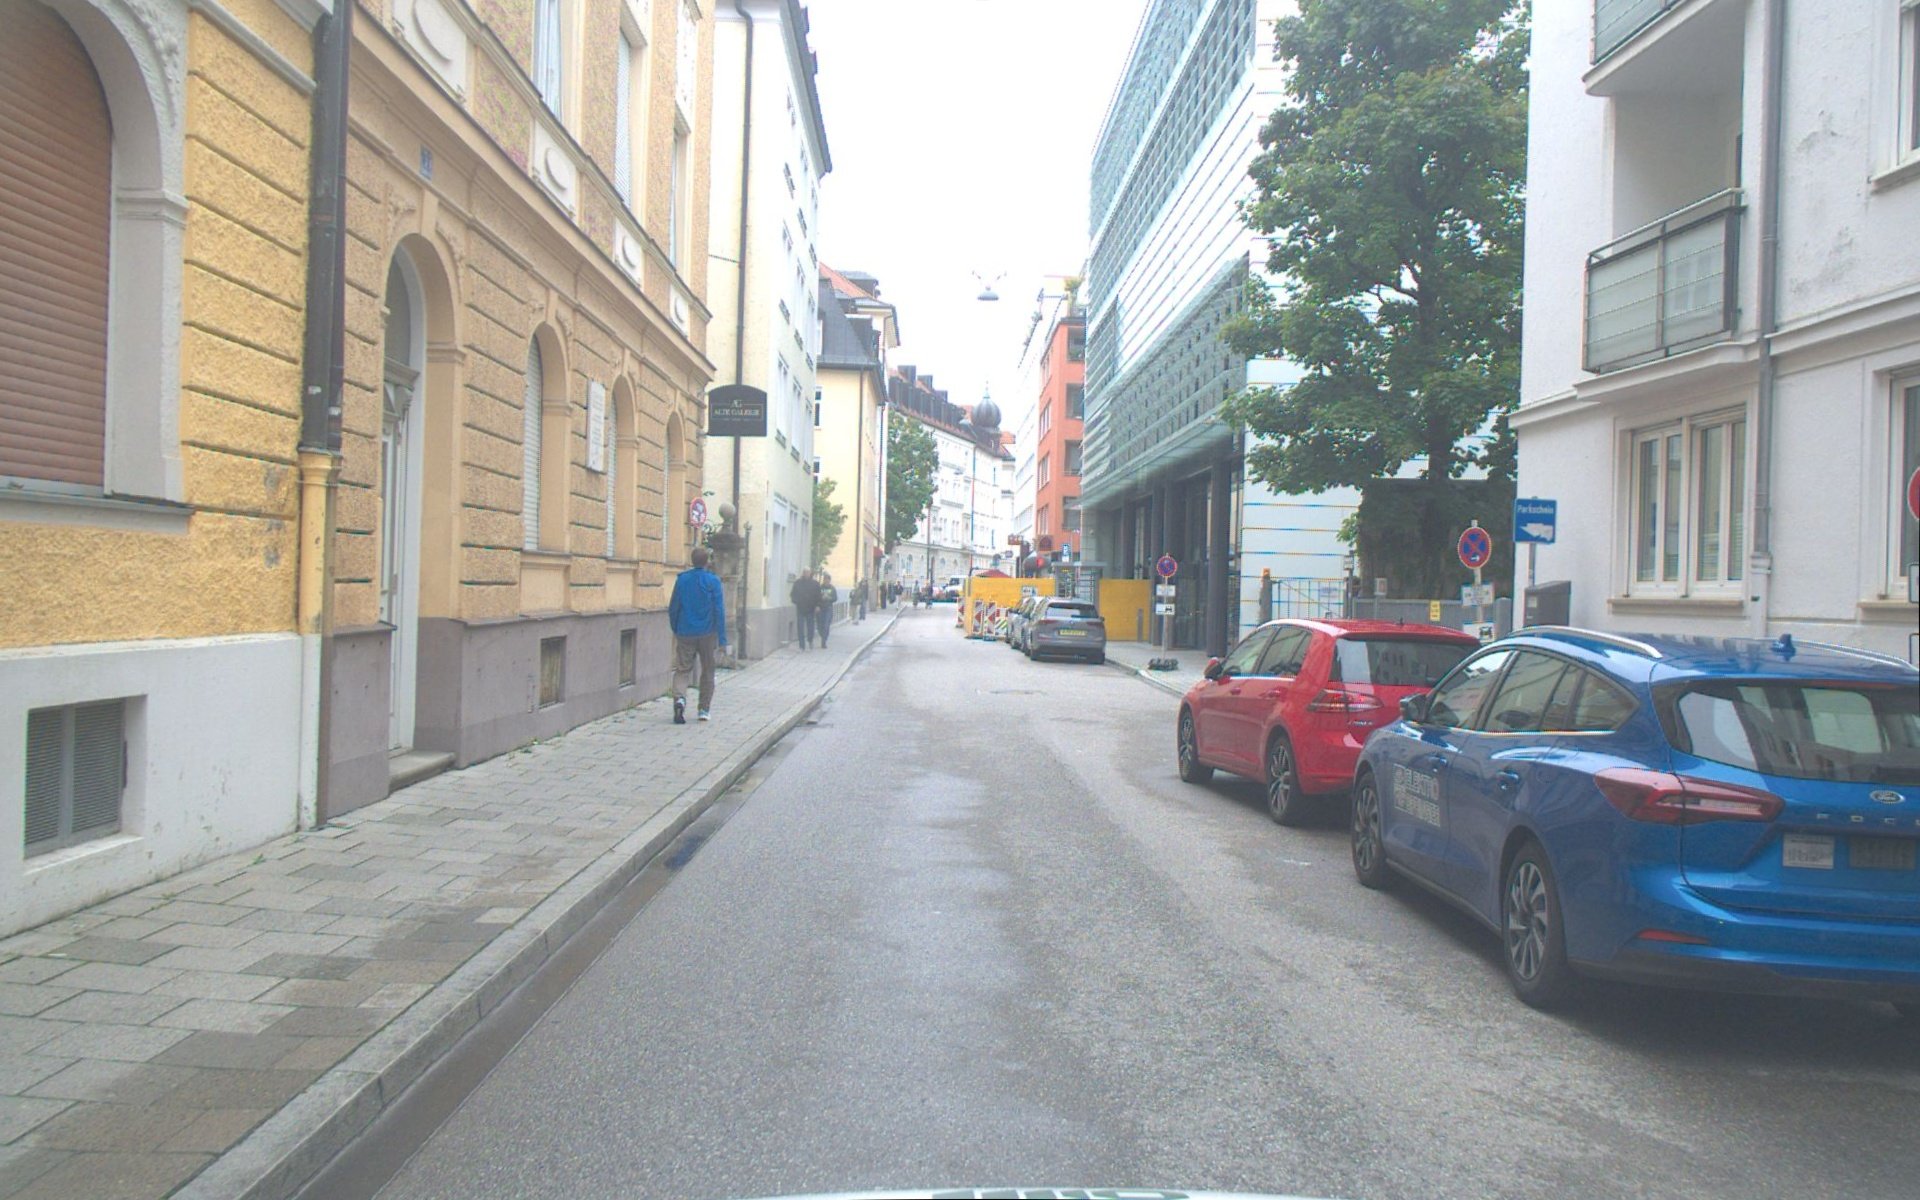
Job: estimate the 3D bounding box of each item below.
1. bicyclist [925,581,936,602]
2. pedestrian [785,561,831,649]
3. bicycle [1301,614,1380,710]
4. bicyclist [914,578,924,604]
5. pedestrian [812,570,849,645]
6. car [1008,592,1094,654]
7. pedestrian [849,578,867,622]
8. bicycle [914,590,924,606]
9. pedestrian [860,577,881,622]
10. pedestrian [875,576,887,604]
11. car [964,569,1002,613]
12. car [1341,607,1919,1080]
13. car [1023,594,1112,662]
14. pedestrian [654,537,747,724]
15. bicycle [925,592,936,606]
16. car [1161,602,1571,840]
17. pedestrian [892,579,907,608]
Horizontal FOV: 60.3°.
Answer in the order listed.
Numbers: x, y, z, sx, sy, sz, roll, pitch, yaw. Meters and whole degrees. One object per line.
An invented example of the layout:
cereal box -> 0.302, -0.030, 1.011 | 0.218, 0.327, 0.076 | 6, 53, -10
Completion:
bicyclist -> -1.973, -0.590, 110.572 | 0.693, 1.395, 0.813 | 1, 0, -2
pedestrian -> -3.283, 0.103, 35.817 | 0.887, 1.859, 0.955 | 2, 0, -2
bicycle -> 5.567, 0.887, 24.270 | 0.693, 1.219, 1.834 | 1, 3, 0
bicyclist -> -2.653, -0.572, 107.374 | 0.646, 1.671, 0.895 | 1, 0, -2
pedestrian -> -3.047, 0.166, 38.882 | 0.698, 1.694, 0.929 | 4, 0, -2
car -> 2.394, 0.576, 44.492 | 1.674, 1.493, 4.233 | 3, 0, -5
pedestrian -> -4.057, 0.002, 66.115 | 0.634, 1.705, 0.723 | 2, 0, -2
bicycle -> -2.665, -0.138, 107.485 | 0.648, 1.057, 2.004 | 1, 0, -2
pedestrian -> -3.910, -0.040, 72.298 | 0.850, 1.914, 1.134 | 2, 0, -2
pedestrian -> -4.764, -0.597, 99.307 | 0.657, 1.677, 0.761 | 2, 0, -2
car -> 1.386, -0.583, 101.756 | 1.953, 2.581, 4.973 | 2, 0, -2
car -> 3.147, 0.823, 7.571 | 1.758, 1.463, 4.383 | 3, 0, 0
car -> 2.489, 0.624, 39.200 | 1.673, 1.457, 4.328 | 2, 0, -2
pedestrian -> -2.736, 0.314, 17.545 | 0.741, 1.887, 1.076 | 3, 0, -1
bicycle -> -1.964, -0.096, 110.378 | 0.693, 0.921, 1.809 | 1, 0, -2
car -> 2.984, 0.818, 13.178 | 1.727, 1.472, 4.292 | 3, 0, -7
pedestrian -> -3.652, -0.402, 99.179 | 0.822, 1.730, 0.802 | 2, 0, -2
